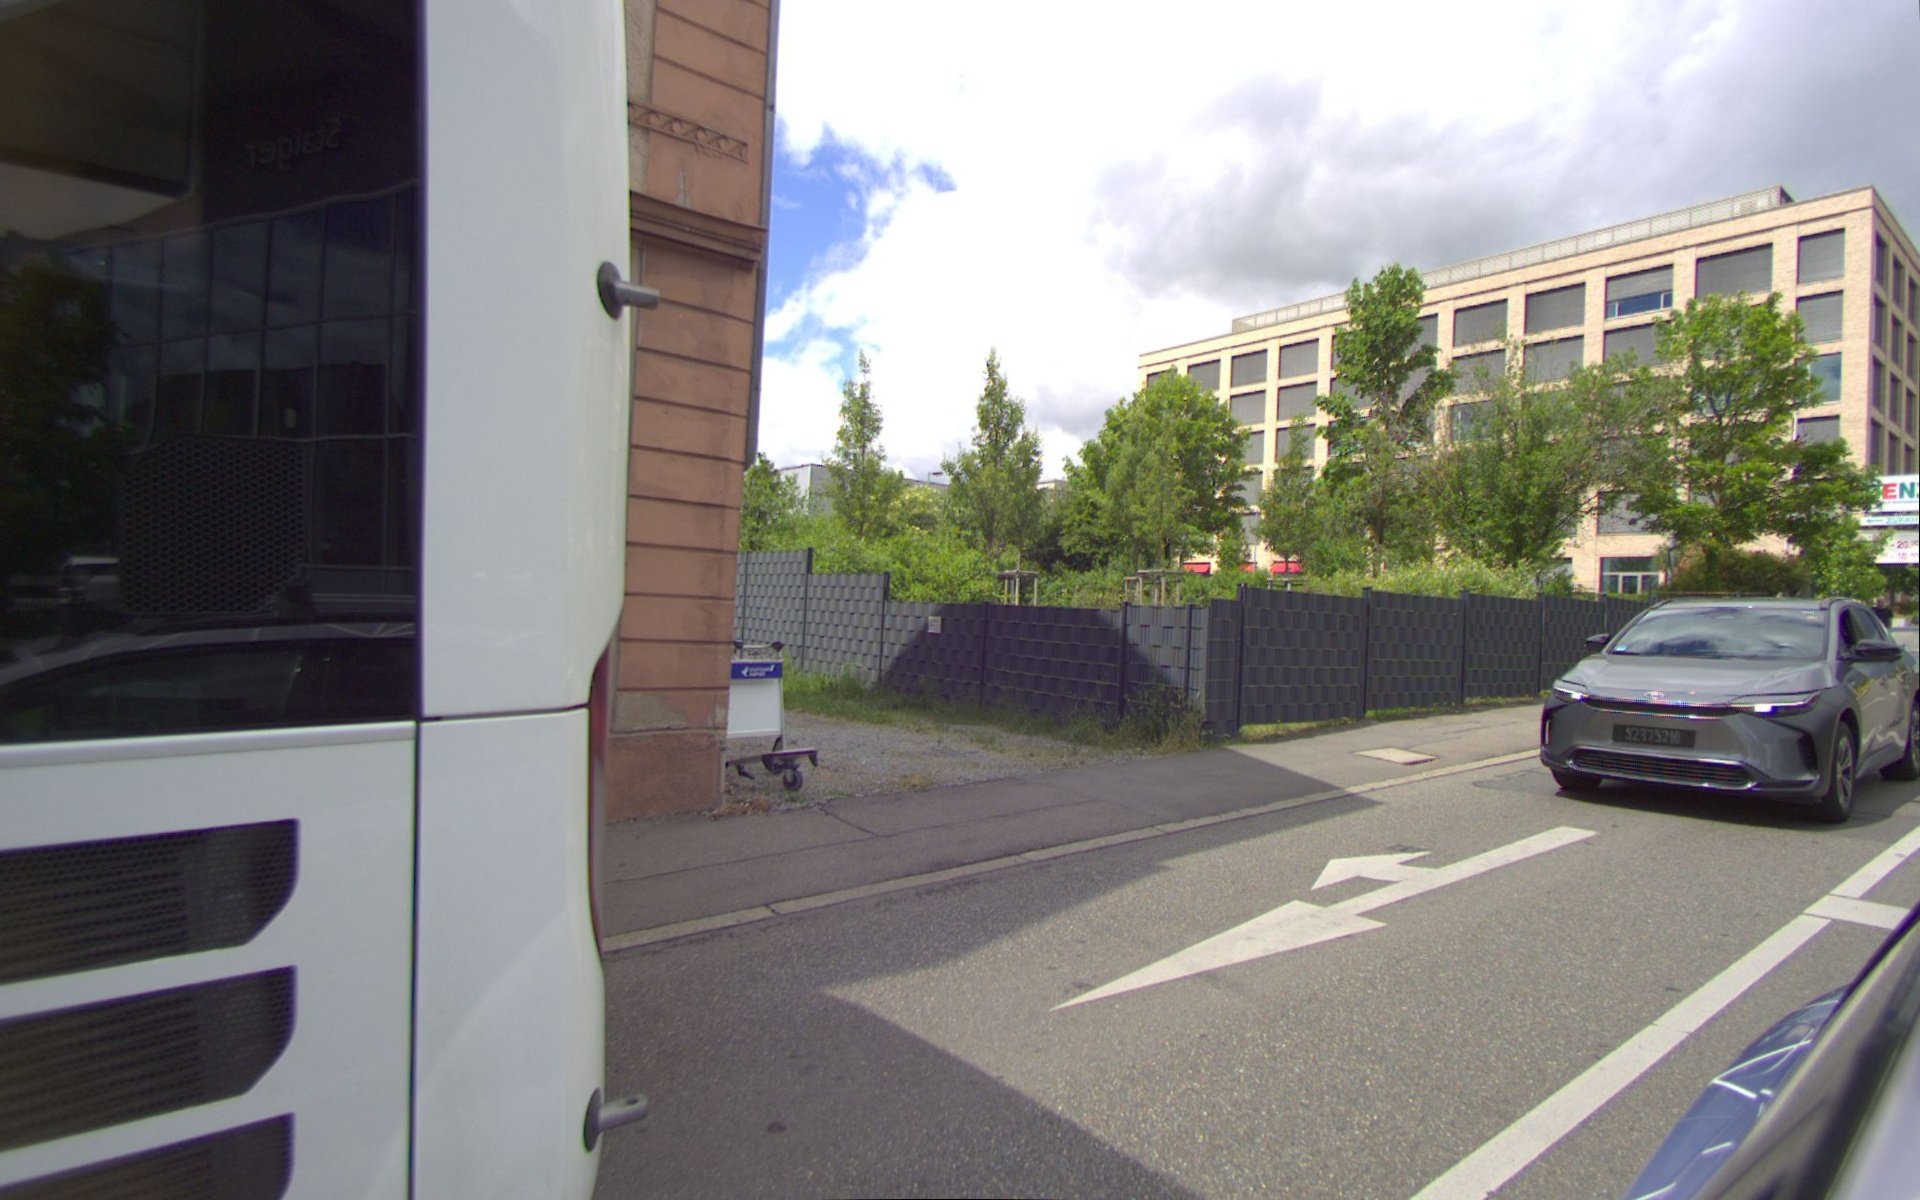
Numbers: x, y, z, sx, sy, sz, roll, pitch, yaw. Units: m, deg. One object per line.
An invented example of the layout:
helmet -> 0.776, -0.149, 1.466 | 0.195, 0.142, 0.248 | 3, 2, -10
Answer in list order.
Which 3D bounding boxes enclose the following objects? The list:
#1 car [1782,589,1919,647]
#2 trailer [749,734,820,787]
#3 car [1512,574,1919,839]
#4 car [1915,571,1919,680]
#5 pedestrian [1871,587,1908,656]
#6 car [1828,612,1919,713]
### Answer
car -> 29.973, 0.572, 33.547 | 1.791, 1.754, 3.994 | 0, 1, -41
trailer -> -1.269, 1.162, 7.348 | 0.466, 0.324, 0.359 | 0, 0, -3
car -> 6.663, 0.643, 8.494 | 4.497, 1.649, 1.998 | 0, 1, -39
car -> 20.651, 0.483, 19.887 | 4.673, 2.075, 2.088 | 0, 0, -38
pedestrian -> 23.961, 0.548, 26.085 | 0.543, 1.742, 0.602 | 0, 0, -38
car -> 14.443, 0.863, 14.883 | 3.964, 1.310, 1.824 | 0, 0, -38
